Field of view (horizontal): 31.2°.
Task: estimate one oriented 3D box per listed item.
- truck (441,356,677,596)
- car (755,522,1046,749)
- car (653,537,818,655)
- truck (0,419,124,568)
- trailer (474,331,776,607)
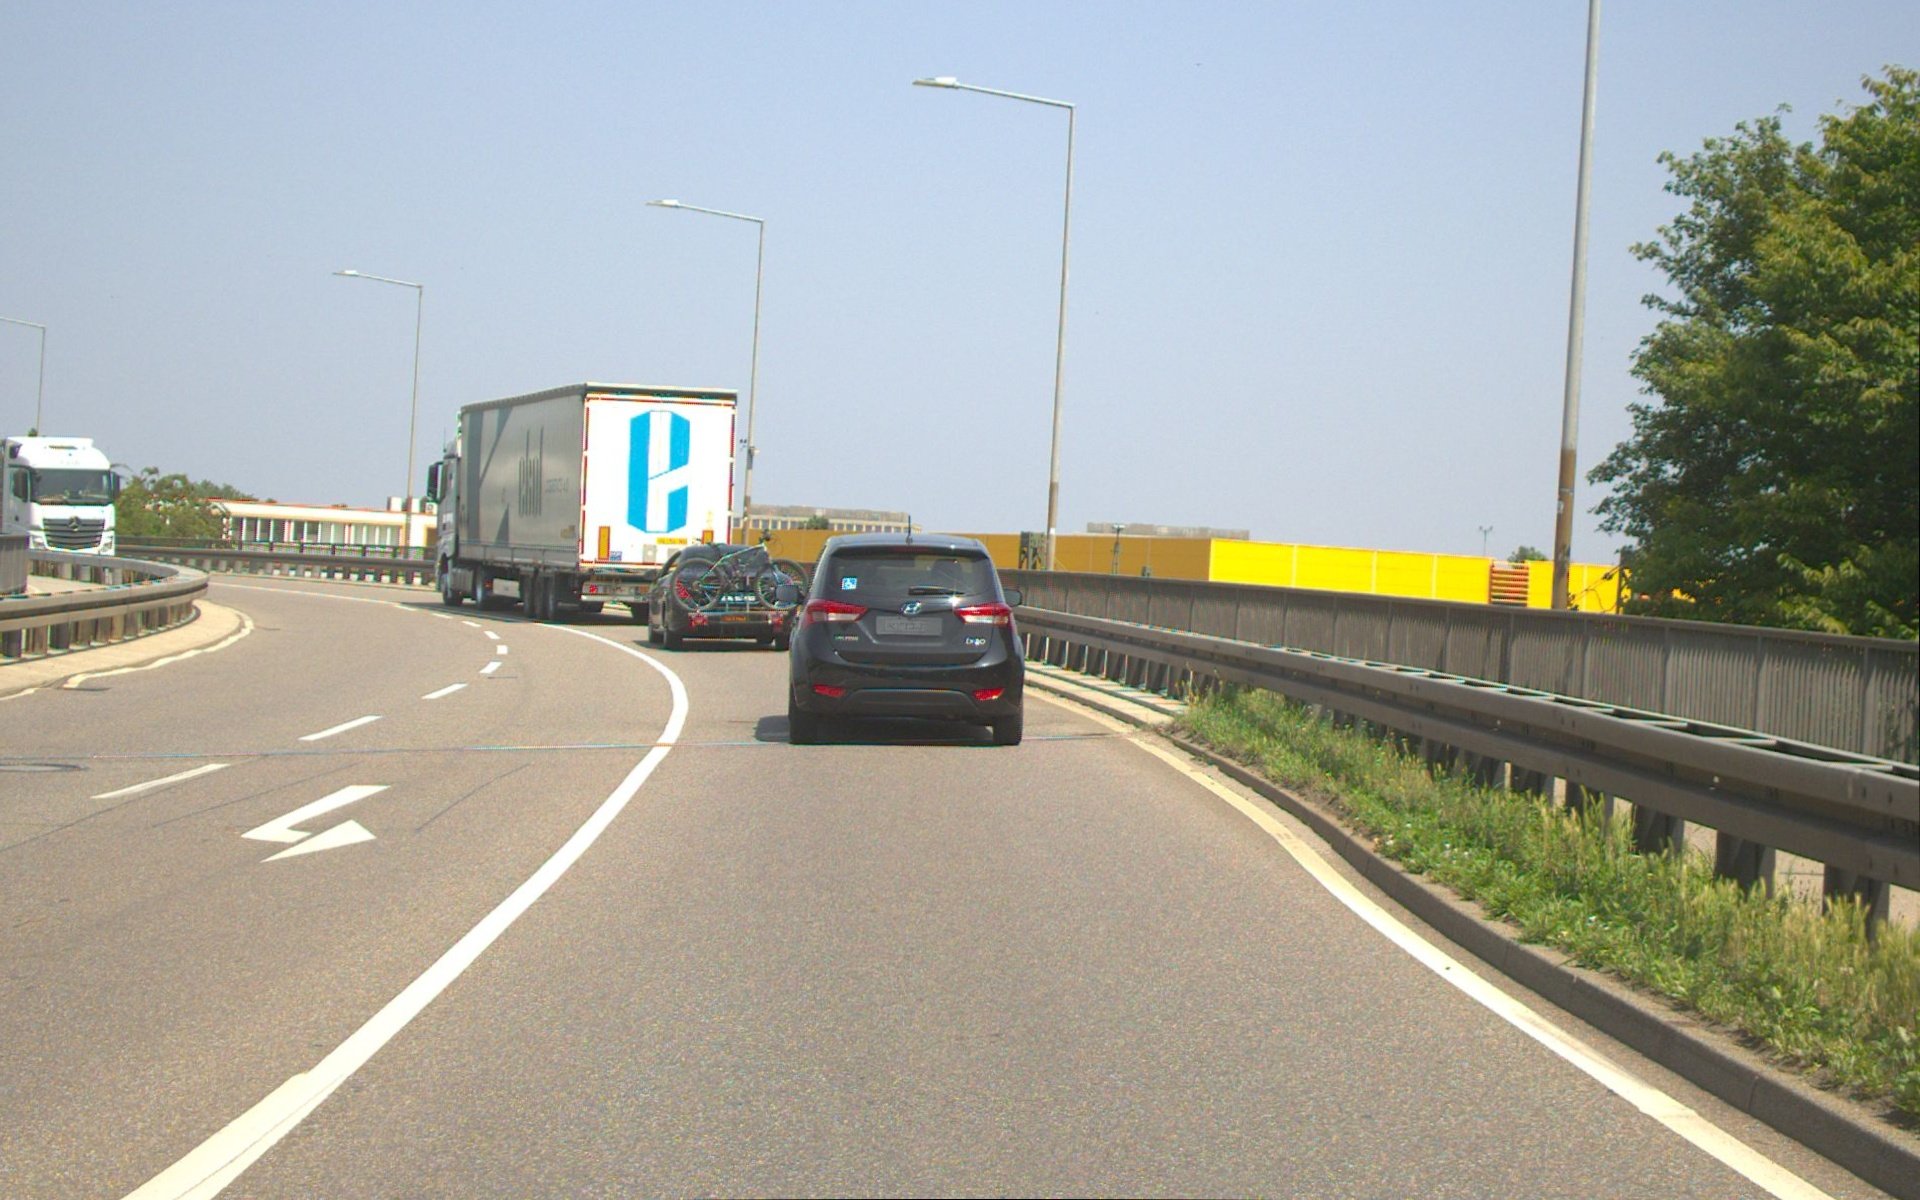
[{"bbox_3d":[-8.103,-2.446,68.637,3.571,4.425,6.517,2,1,-15],"label":"truck"},{"bbox_3d":[-0.547,0.219,26.982,1.921,1.568,3.892,2,1,-6],"label":"car"},{"bbox_3d":[-3.079,-0.081,46.449,2.011,1.424,3.778,2,1,-6],"label":"car"},{"bbox_3d":[-25.920,-3.033,97.034,2.705,3.978,6.186,2,1,-31],"label":"truck"},{"bbox_3d":[-6.256,-2.308,61.890,3.568,4.369,11.445,2,1,-14],"label":"trailer"}]
